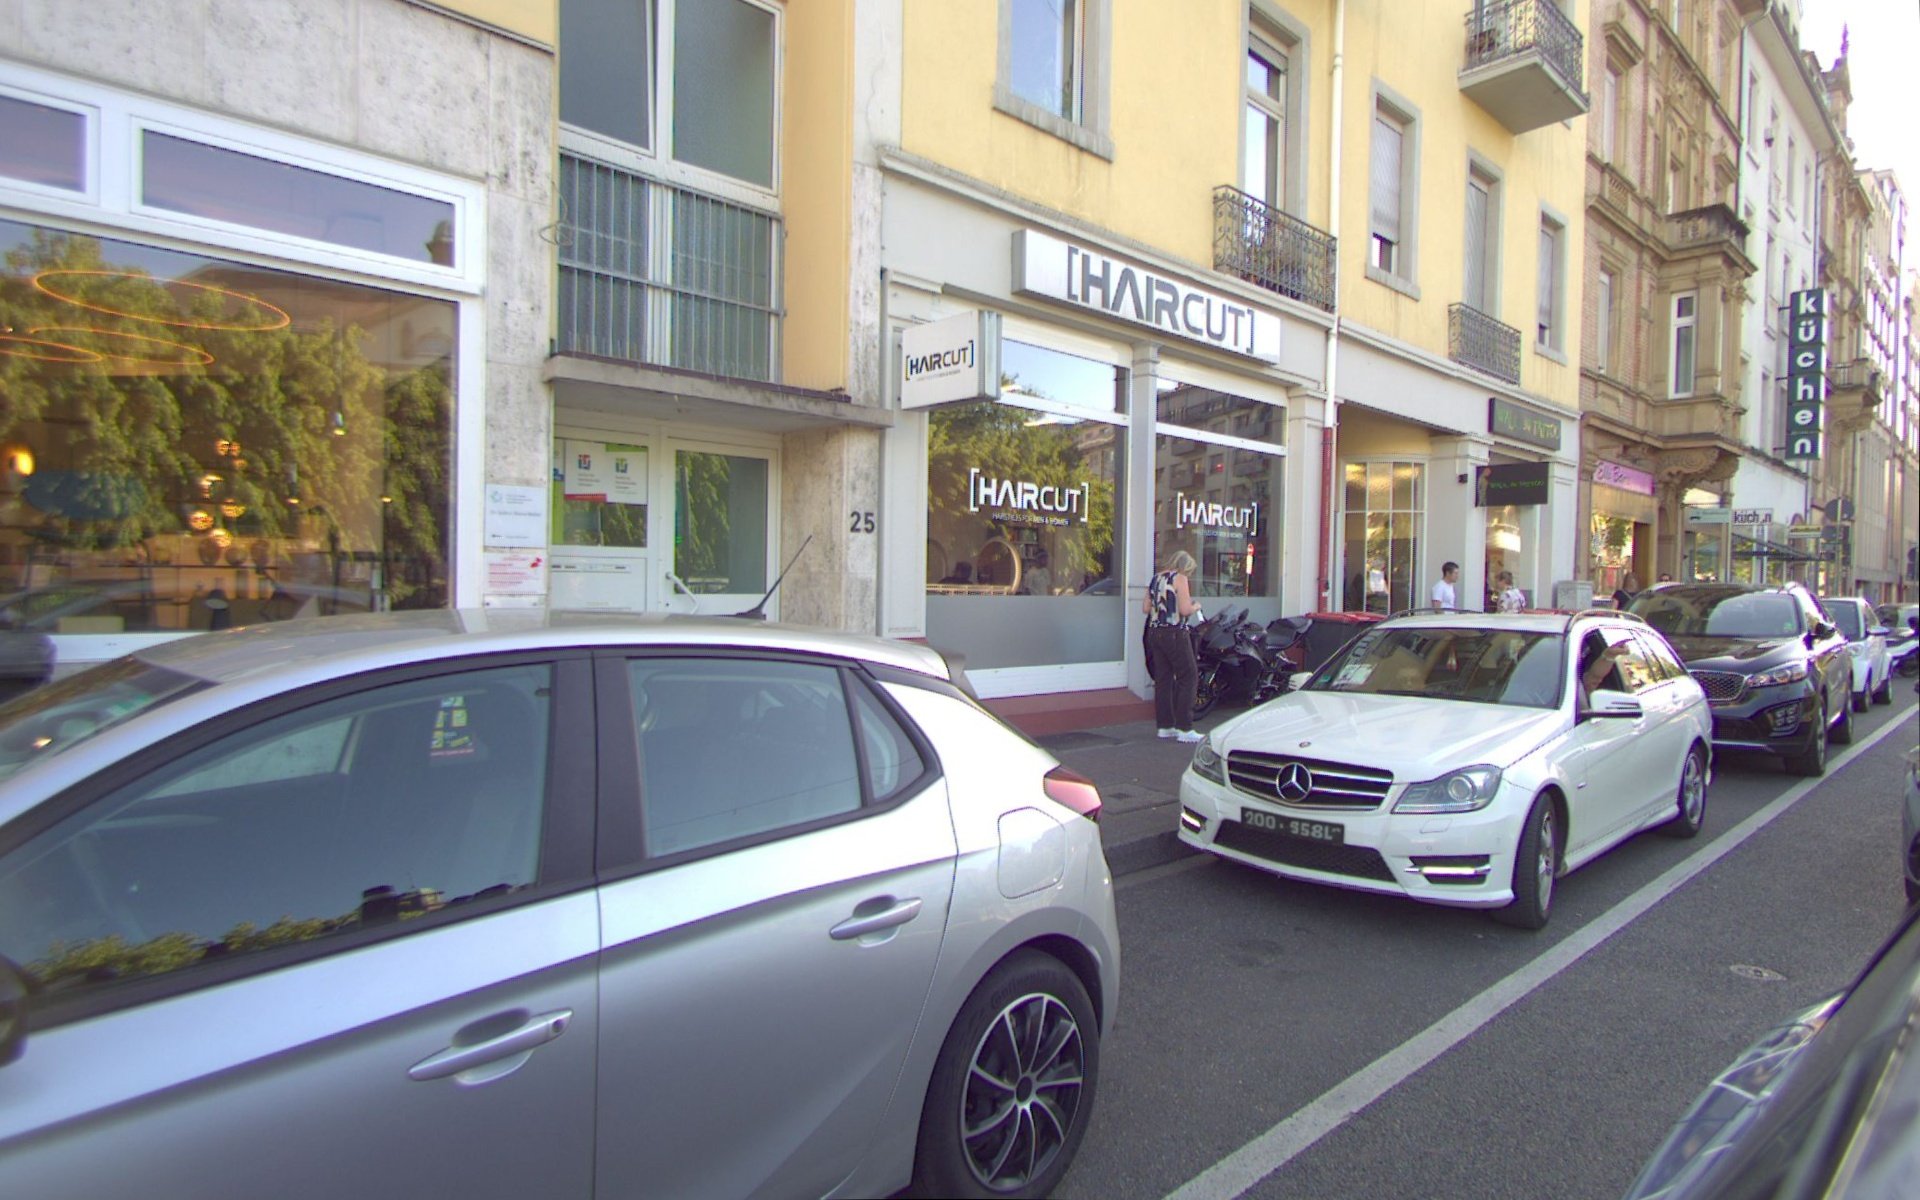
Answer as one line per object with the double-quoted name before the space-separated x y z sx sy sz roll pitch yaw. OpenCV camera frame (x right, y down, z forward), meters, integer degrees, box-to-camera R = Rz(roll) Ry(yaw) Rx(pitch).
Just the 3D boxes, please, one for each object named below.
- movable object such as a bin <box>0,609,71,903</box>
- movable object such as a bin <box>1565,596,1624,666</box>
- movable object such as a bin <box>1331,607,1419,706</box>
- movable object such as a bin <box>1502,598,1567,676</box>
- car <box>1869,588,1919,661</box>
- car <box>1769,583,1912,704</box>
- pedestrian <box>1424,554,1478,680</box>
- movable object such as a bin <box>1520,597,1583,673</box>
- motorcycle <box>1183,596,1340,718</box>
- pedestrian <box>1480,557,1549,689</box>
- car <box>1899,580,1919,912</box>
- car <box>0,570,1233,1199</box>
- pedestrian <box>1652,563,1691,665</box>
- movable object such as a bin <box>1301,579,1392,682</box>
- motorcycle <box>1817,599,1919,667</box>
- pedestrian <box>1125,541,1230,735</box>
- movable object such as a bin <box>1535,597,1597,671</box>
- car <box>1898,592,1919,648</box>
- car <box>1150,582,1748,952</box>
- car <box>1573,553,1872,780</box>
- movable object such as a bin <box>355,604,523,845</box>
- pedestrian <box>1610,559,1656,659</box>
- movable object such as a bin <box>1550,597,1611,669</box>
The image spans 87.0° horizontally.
"movable object such as a bin" -3.997 0.604 4.072 0.608 1.080 0.704 0 4 -41
"movable object such as a bin" 10.391 0.499 16.577 0.608 1.079 0.606 0 4 -41
"movable object such as a bin" 4.737 0.623 11.562 0.608 1.037 0.669 1 3 -38
"movable object such as a bin" 8.488 0.525 14.950 0.608 1.079 0.606 0 4 -41
"car" 21.843 0.518 22.777 4.096 1.537 1.734 0 1 -44
"car" 12.512 0.537 14.344 2.748 1.537 1.273 0 1 -44
"pedestrian" 6.669 0.226 13.758 0.513 1.681 0.339 1 1 -17
"movable object such as a bin" 8.977 0.519 15.356 0.608 1.079 0.606 0 4 -41
"motorcycle" 3.078 0.527 10.222 1.975 1.105 0.551 0 2 -42
"pedestrian" 7.242 0.290 13.233 0.581 1.681 0.452 1 1 -5
"car" 6.407 0.651 5.242 4.297 1.467 1.846 0 1 -41
"car" -1.239 0.671 2.168 4.009 1.445 1.672 0 1 -43
"pedestrian" 11.736 0.228 16.686 0.506 1.653 0.414 0 0 -42
"movable object such as a bin" 4.259 0.322 11.167 0.608 1.054 0.661 1 3 -38
"motorcycle" 18.591 0.650 20.188 2.137 1.295 0.866 1 0 8
"pedestrian" 1.939 0.312 9.051 0.523 1.653 0.697 0 2 -42
"movable object such as a bin" 9.435 0.513 15.749 0.608 1.079 0.606 0 4 -41
"car" 26.132 0.511 26.651 3.736 1.435 1.736 0 1 -41
"car" 3.206 0.643 6.144 4.387 1.465 1.741 0 1 -42
"car" 7.736 0.491 10.079 4.498 1.758 1.756 0 1 -45
"movable object such as a bin" -2.691 0.588 5.211 0.608 1.080 0.704 0 4 -41
"pedestrian" 11.301 0.145 17.014 0.614 1.653 0.458 1 0 32
"movable object such as a bin" 9.906 0.520 16.156 0.608 1.079 0.606 0 4 -41
